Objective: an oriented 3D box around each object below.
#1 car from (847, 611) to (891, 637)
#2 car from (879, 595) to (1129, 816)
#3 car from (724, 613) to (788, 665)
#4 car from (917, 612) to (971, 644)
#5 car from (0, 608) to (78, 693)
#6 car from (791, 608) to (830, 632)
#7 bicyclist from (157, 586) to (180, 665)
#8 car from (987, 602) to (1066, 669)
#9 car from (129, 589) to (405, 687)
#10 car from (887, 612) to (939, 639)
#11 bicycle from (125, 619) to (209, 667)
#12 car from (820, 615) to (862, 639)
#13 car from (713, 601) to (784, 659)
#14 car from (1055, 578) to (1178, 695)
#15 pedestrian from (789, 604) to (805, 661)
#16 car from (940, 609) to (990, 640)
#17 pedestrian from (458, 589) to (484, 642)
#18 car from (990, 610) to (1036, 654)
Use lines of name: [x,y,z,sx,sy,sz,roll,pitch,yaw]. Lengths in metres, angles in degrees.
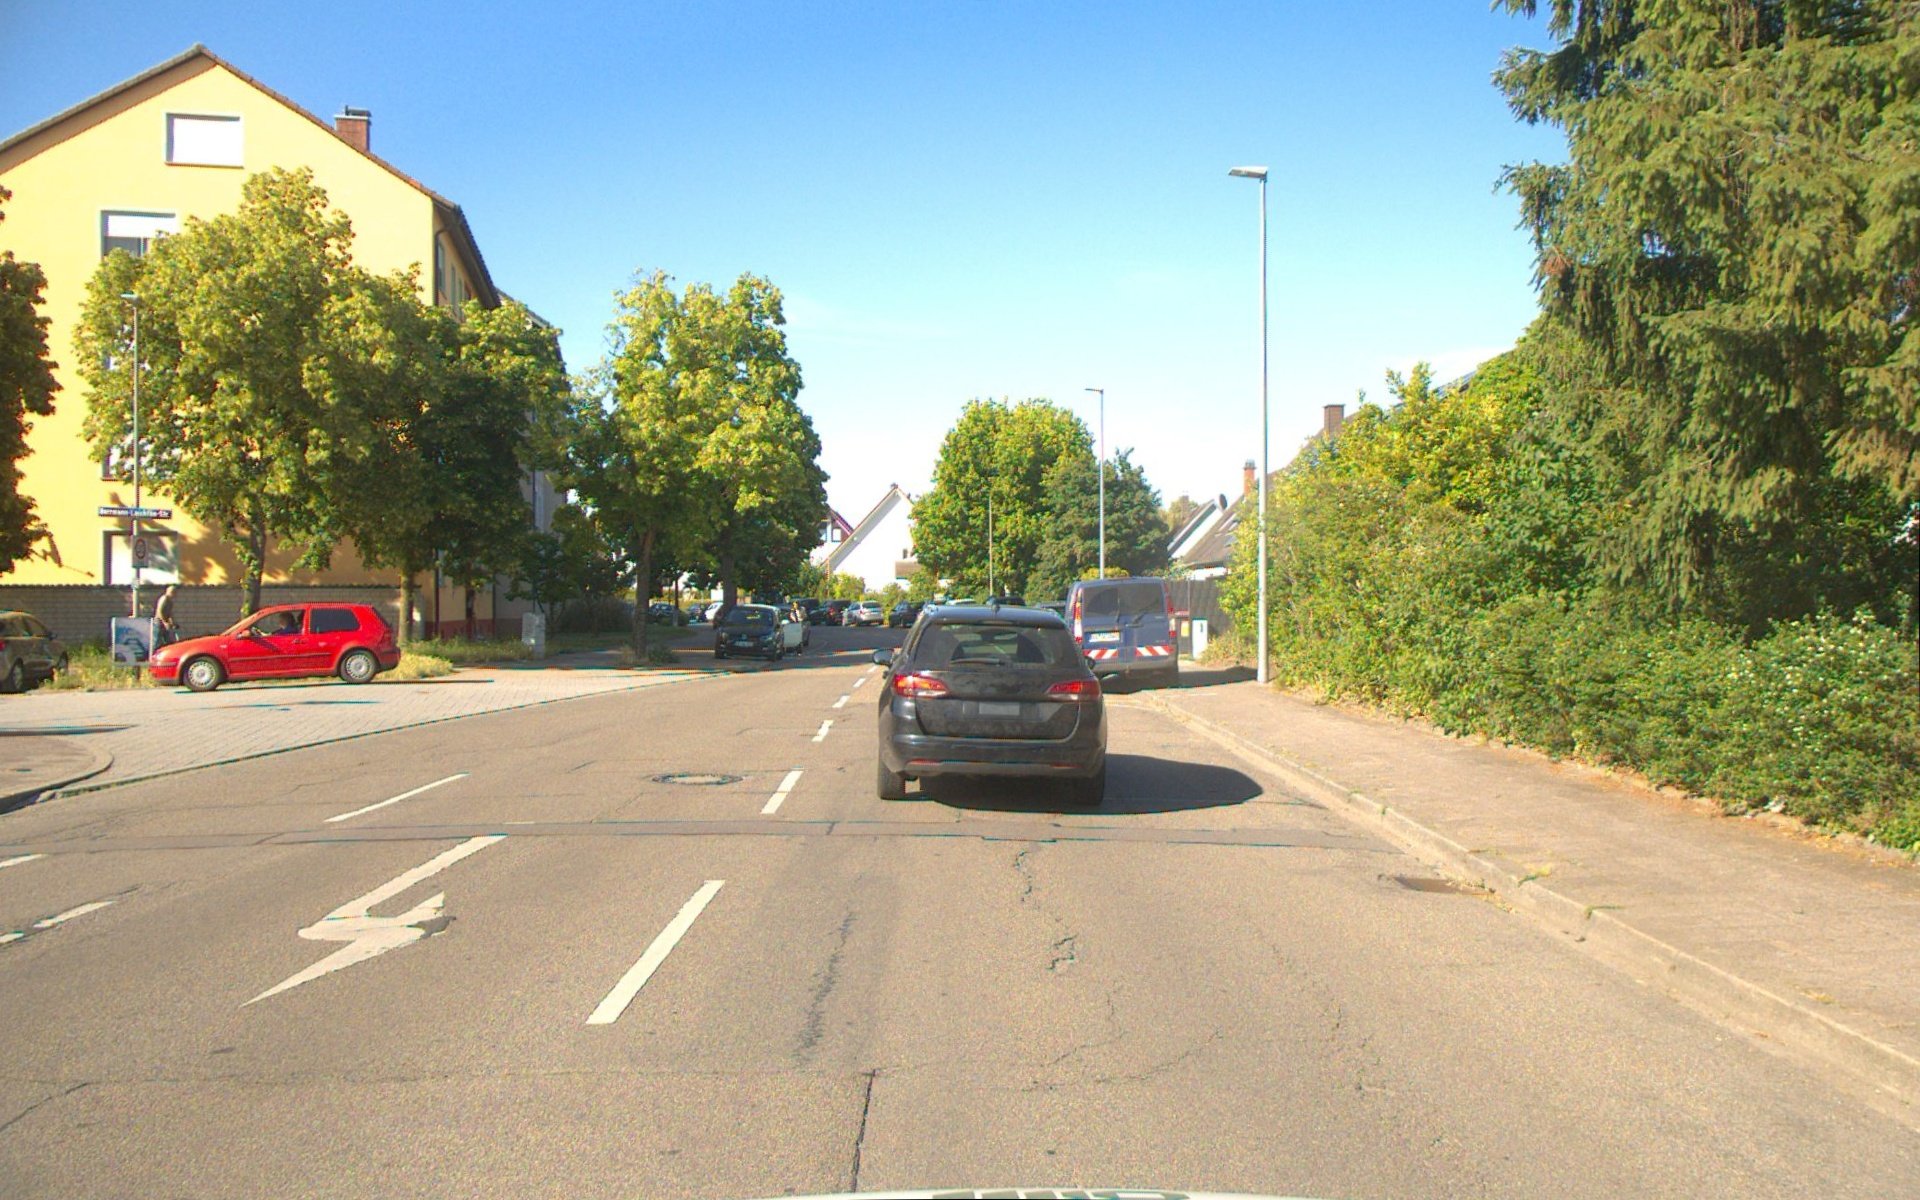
car: [-5.643,1.514,102.268,1.791,1.561,4.238,0,-1,-17]
car: [0.292,0.777,13.737,1.726,1.517,4.290,1,-1,-1]
car: [-6.362,1.244,51.857,1.666,1.550,4.049,-1,-2,-3]
car: [-0.874,1.505,88.011,1.879,1.628,4.277,0,-1,-14]
car: [-18.349,0.918,31.574,1.699,1.489,3.868,0,0,-13]
car: [-10.214,1.362,112.760,1.791,1.561,4.238,0,-1,-17]
bicyclist: [-17.204,0.556,35.948,0.384,1.715,0.378,1,-3,-32]
car: [1.589,0.828,40.738,1.729,1.506,4.991,-1,0,0]
car: [-12.183,0.665,29.120,4.326,1.596,2.001,1,0,-27]
car: [-2.689,1.443,93.388,1.973,1.501,4.274,0,-1,-16]
bicycle: [-17.217,0.928,35.938,1.601,1.029,0.402,1,-1,-33]
car: [-7.754,1.750,107.440,1.791,1.561,4.238,0,-1,-17]
car: [-5.889,0.877,46.316,1.667,1.506,4.048,2,-2,-4]
car: [2.756,0.633,30.062,1.799,1.941,4.697,1,0,0]
pedestrian: [-5.176,1.051,52.497,0.494,1.792,0.694,0,-3,-4]
car: [0.222,1.230,83.390,1.729,1.506,4.283,0,-1,-11]
pedestrian: [-16.481,0.526,55.743,0.671,1.748,0.720,-1,-3,-1]
car: [2.141,1.305,67.720,1.741,1.754,4.293,-1,-1,0]
